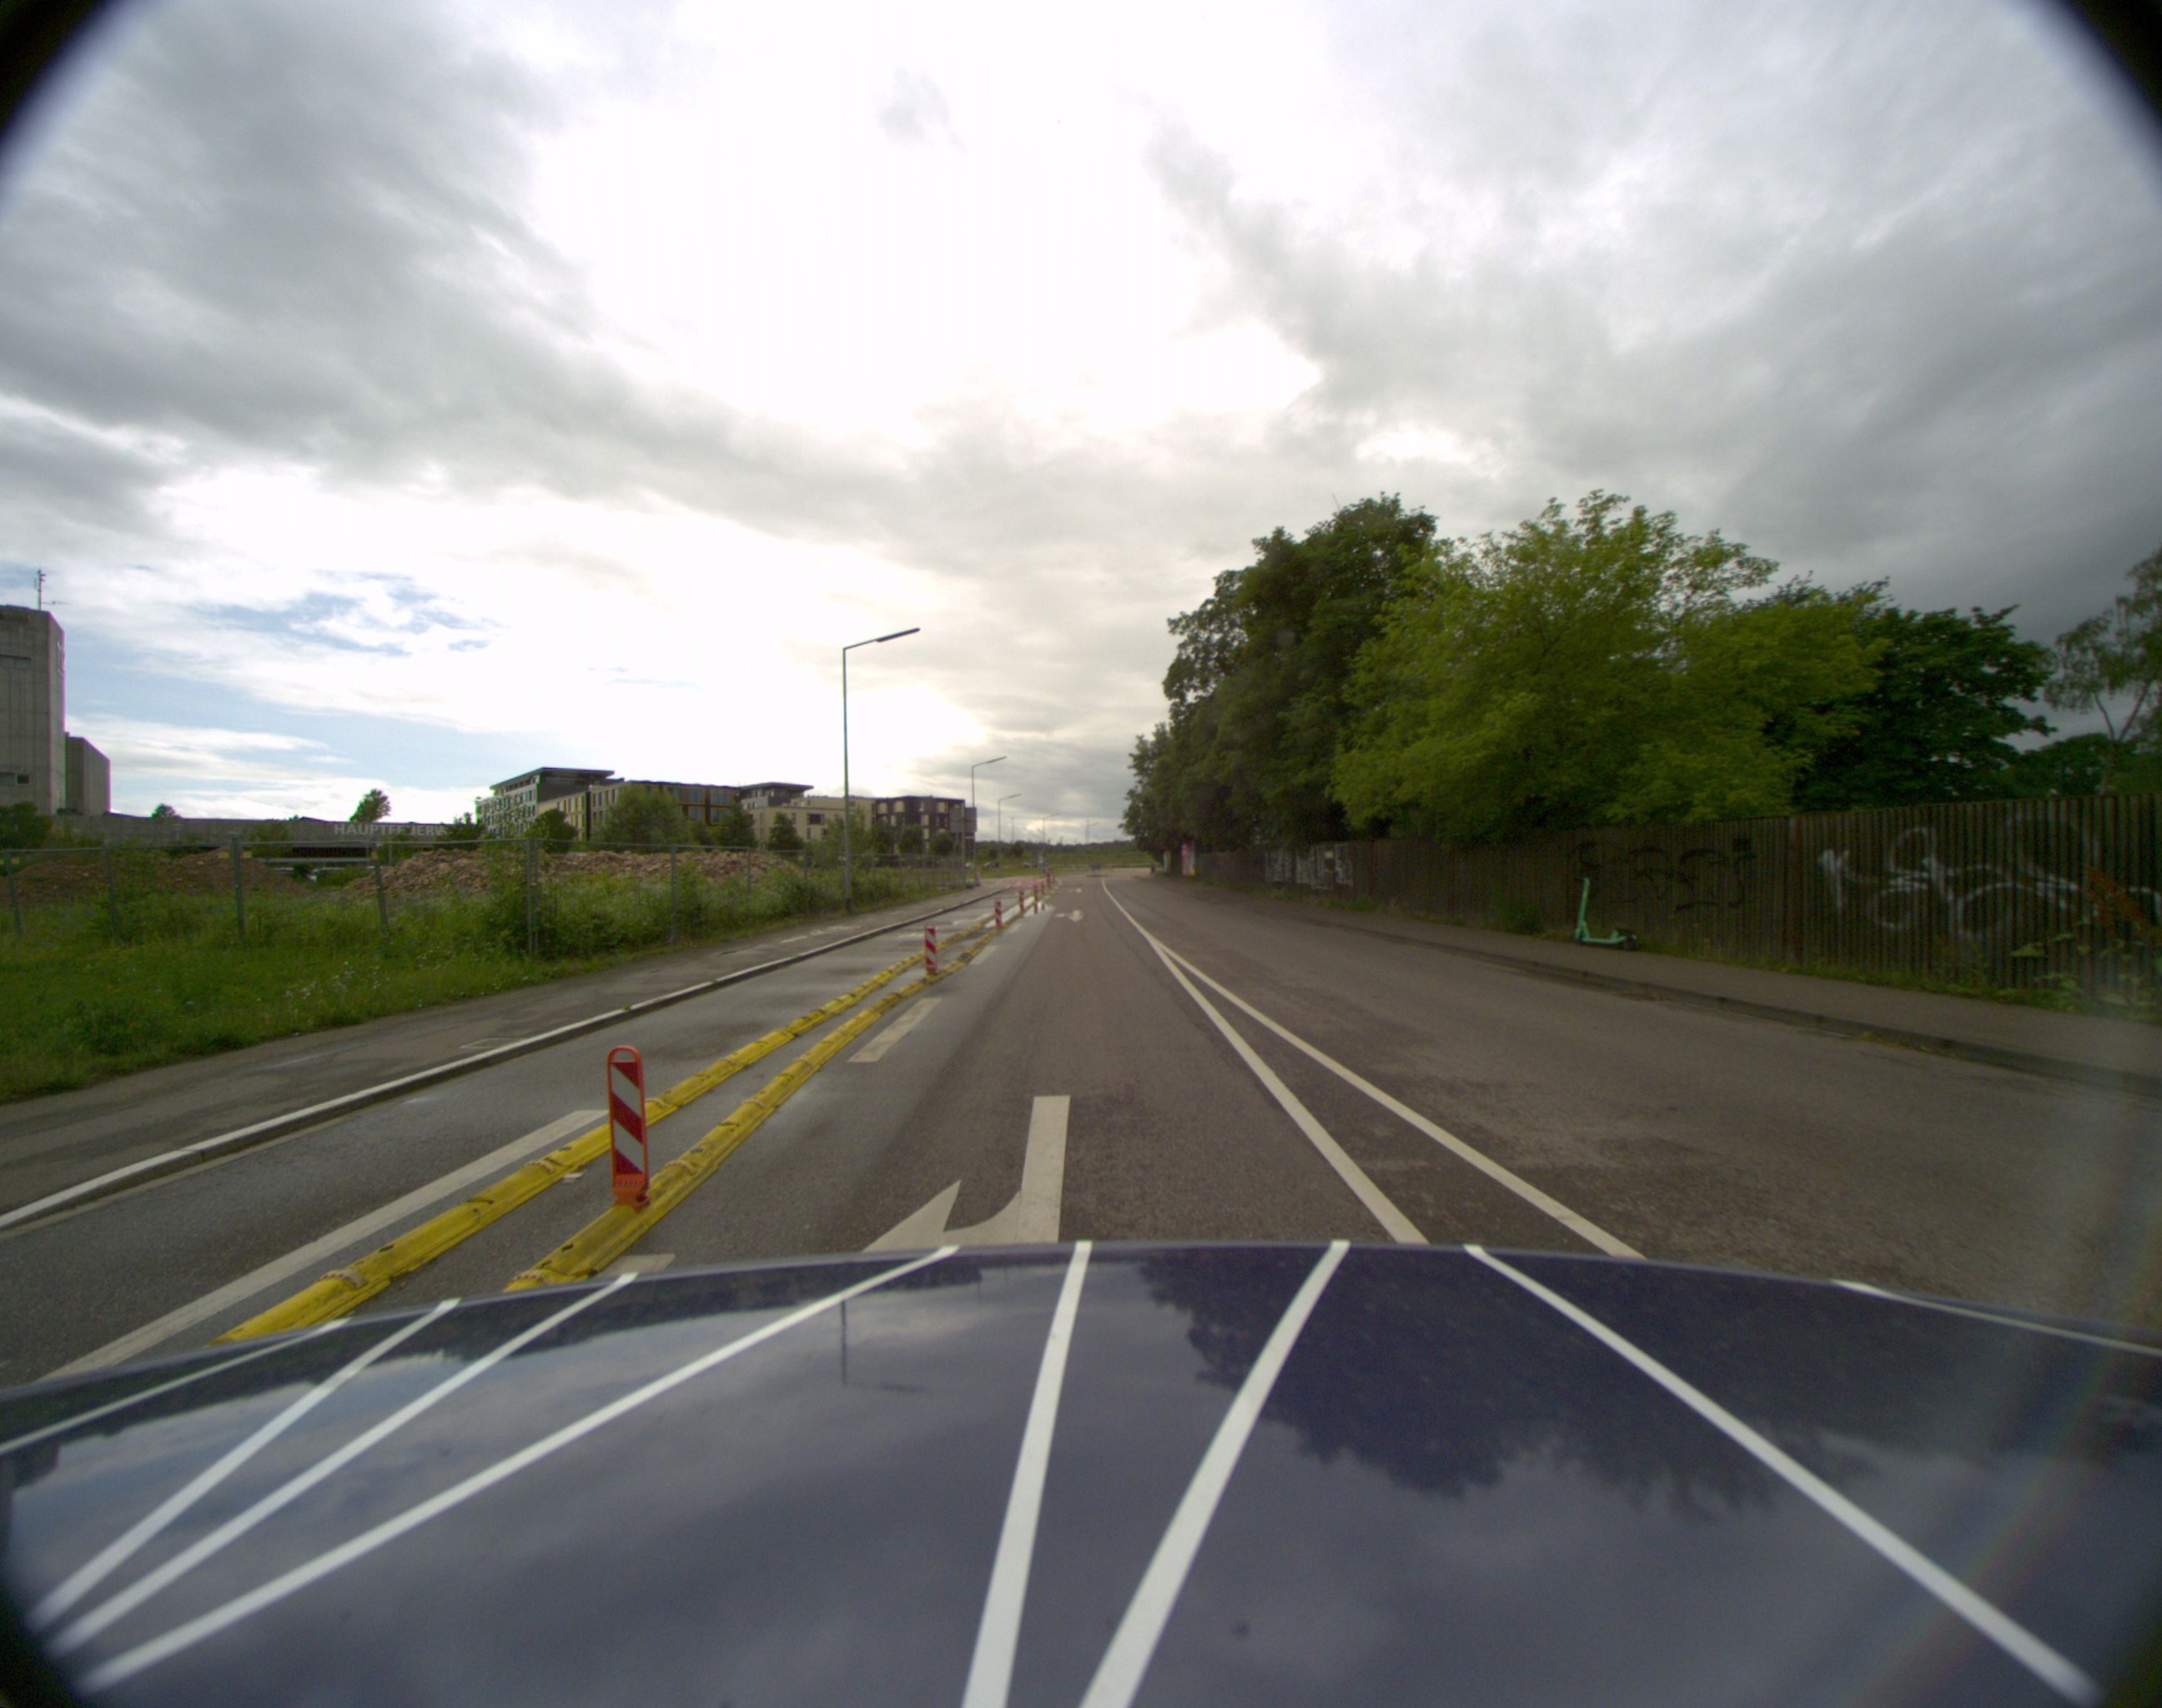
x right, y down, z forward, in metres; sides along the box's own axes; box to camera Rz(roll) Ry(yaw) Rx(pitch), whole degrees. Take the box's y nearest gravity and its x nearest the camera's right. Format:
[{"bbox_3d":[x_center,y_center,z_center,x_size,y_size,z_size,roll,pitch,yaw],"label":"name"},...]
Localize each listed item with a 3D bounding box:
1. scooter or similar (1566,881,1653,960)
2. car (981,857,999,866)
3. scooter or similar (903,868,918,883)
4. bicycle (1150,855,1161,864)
[{"bbox_3d":[8.526,1.047,12.307,0.424,1.164,1.303,-1,0,-5],"label":"scooter or similar"},{"bbox_3d":[-22.286,1.816,185.721,1.994,2.002,4.009,0,0,42],"label":"car"},{"bbox_3d":[-13.427,1.699,59.954,1.323,1.178,0.447,-1,0,41],"label":"scooter or similar"},{"bbox_3d":[8.864,0.619,90.047,0.583,0.992,1.773,-3,0,27],"label":"bicycle"}]
